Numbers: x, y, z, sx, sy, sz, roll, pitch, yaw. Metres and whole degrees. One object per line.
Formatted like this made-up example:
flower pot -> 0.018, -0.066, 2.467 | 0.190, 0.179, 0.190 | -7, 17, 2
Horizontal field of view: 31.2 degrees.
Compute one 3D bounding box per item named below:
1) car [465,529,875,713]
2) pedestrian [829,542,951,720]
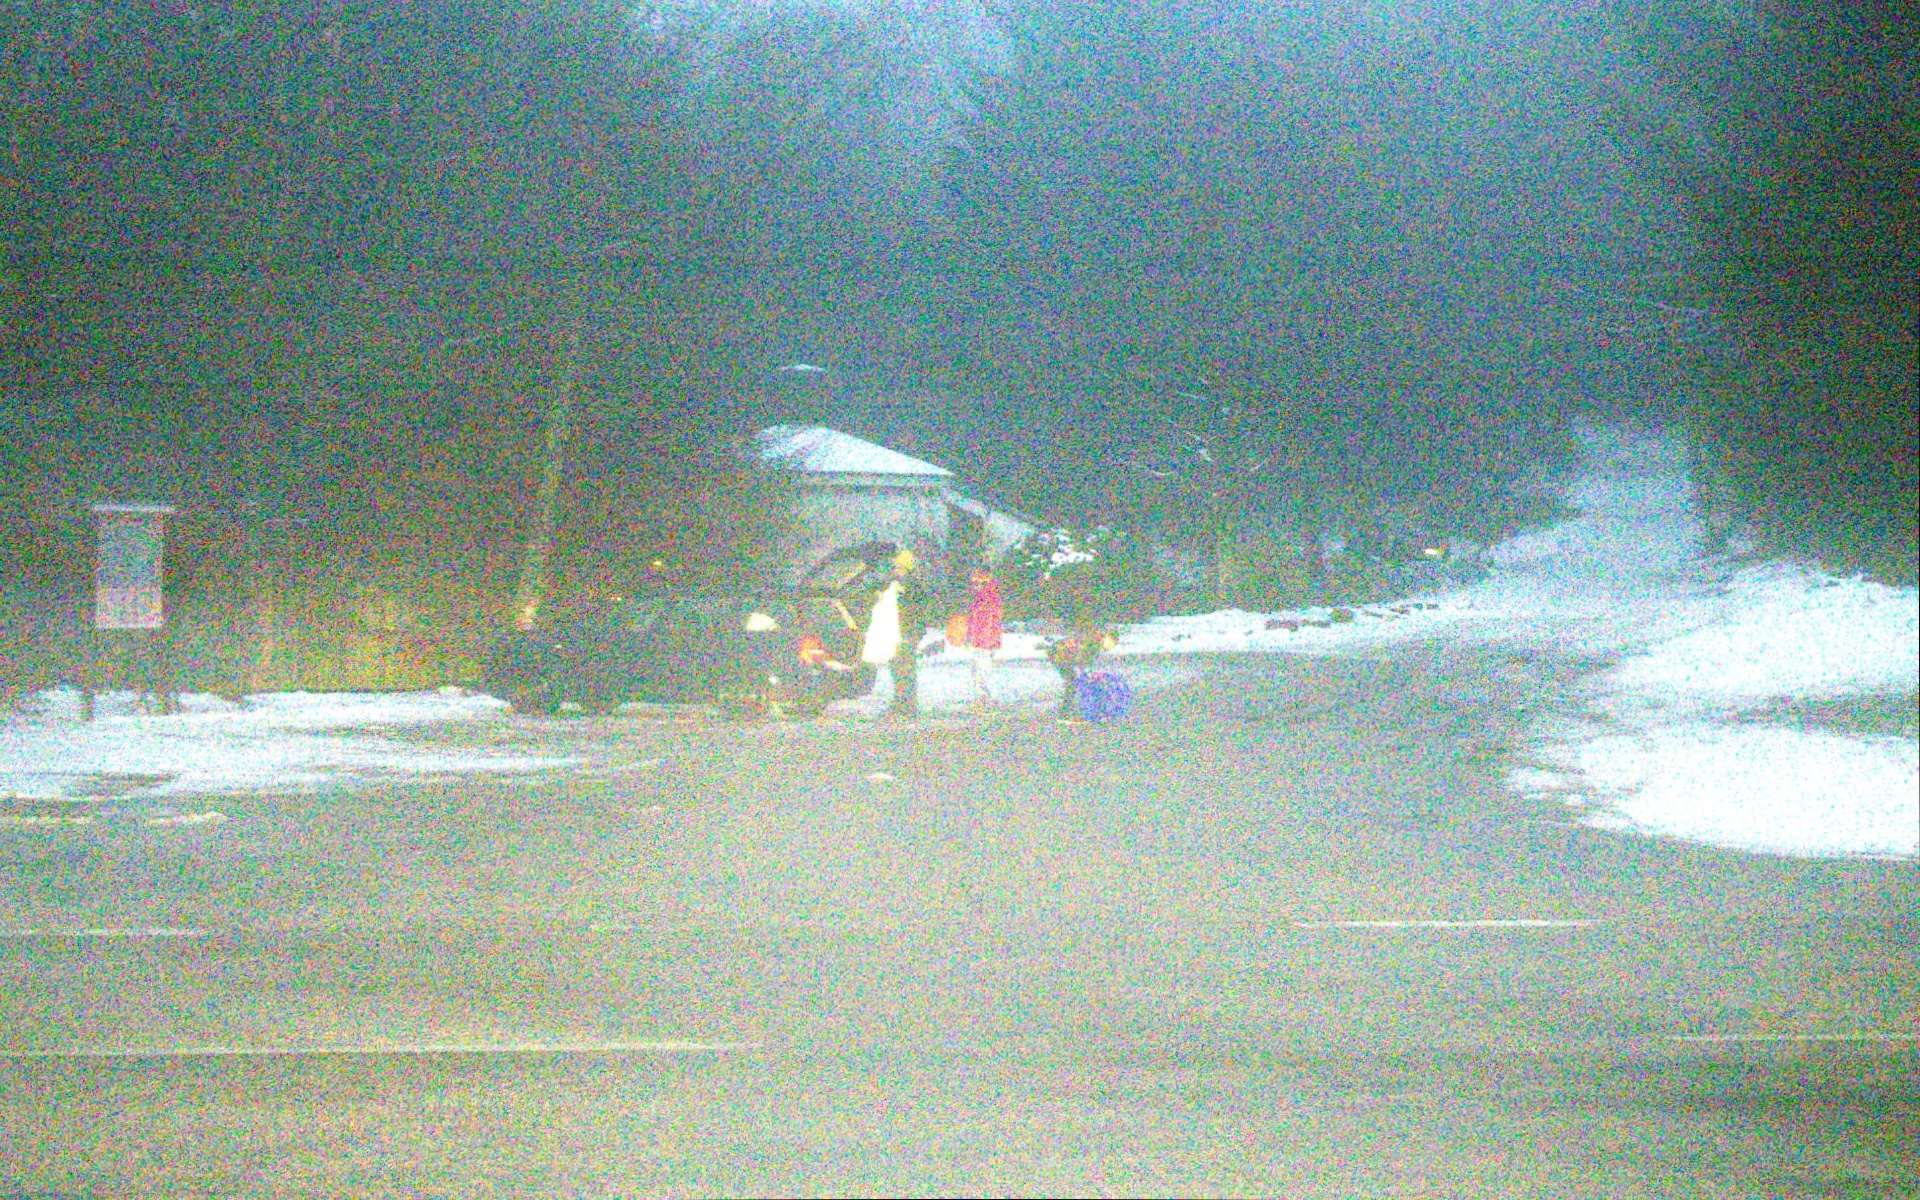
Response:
car -> -3.136, 0.220, 37.421 | 3.950, 1.875, 1.998 | 1, -1, 17
pedestrian -> -0.731, 0.323, 36.100 | 0.961, 1.822, 0.924 | 1, -1, 22
